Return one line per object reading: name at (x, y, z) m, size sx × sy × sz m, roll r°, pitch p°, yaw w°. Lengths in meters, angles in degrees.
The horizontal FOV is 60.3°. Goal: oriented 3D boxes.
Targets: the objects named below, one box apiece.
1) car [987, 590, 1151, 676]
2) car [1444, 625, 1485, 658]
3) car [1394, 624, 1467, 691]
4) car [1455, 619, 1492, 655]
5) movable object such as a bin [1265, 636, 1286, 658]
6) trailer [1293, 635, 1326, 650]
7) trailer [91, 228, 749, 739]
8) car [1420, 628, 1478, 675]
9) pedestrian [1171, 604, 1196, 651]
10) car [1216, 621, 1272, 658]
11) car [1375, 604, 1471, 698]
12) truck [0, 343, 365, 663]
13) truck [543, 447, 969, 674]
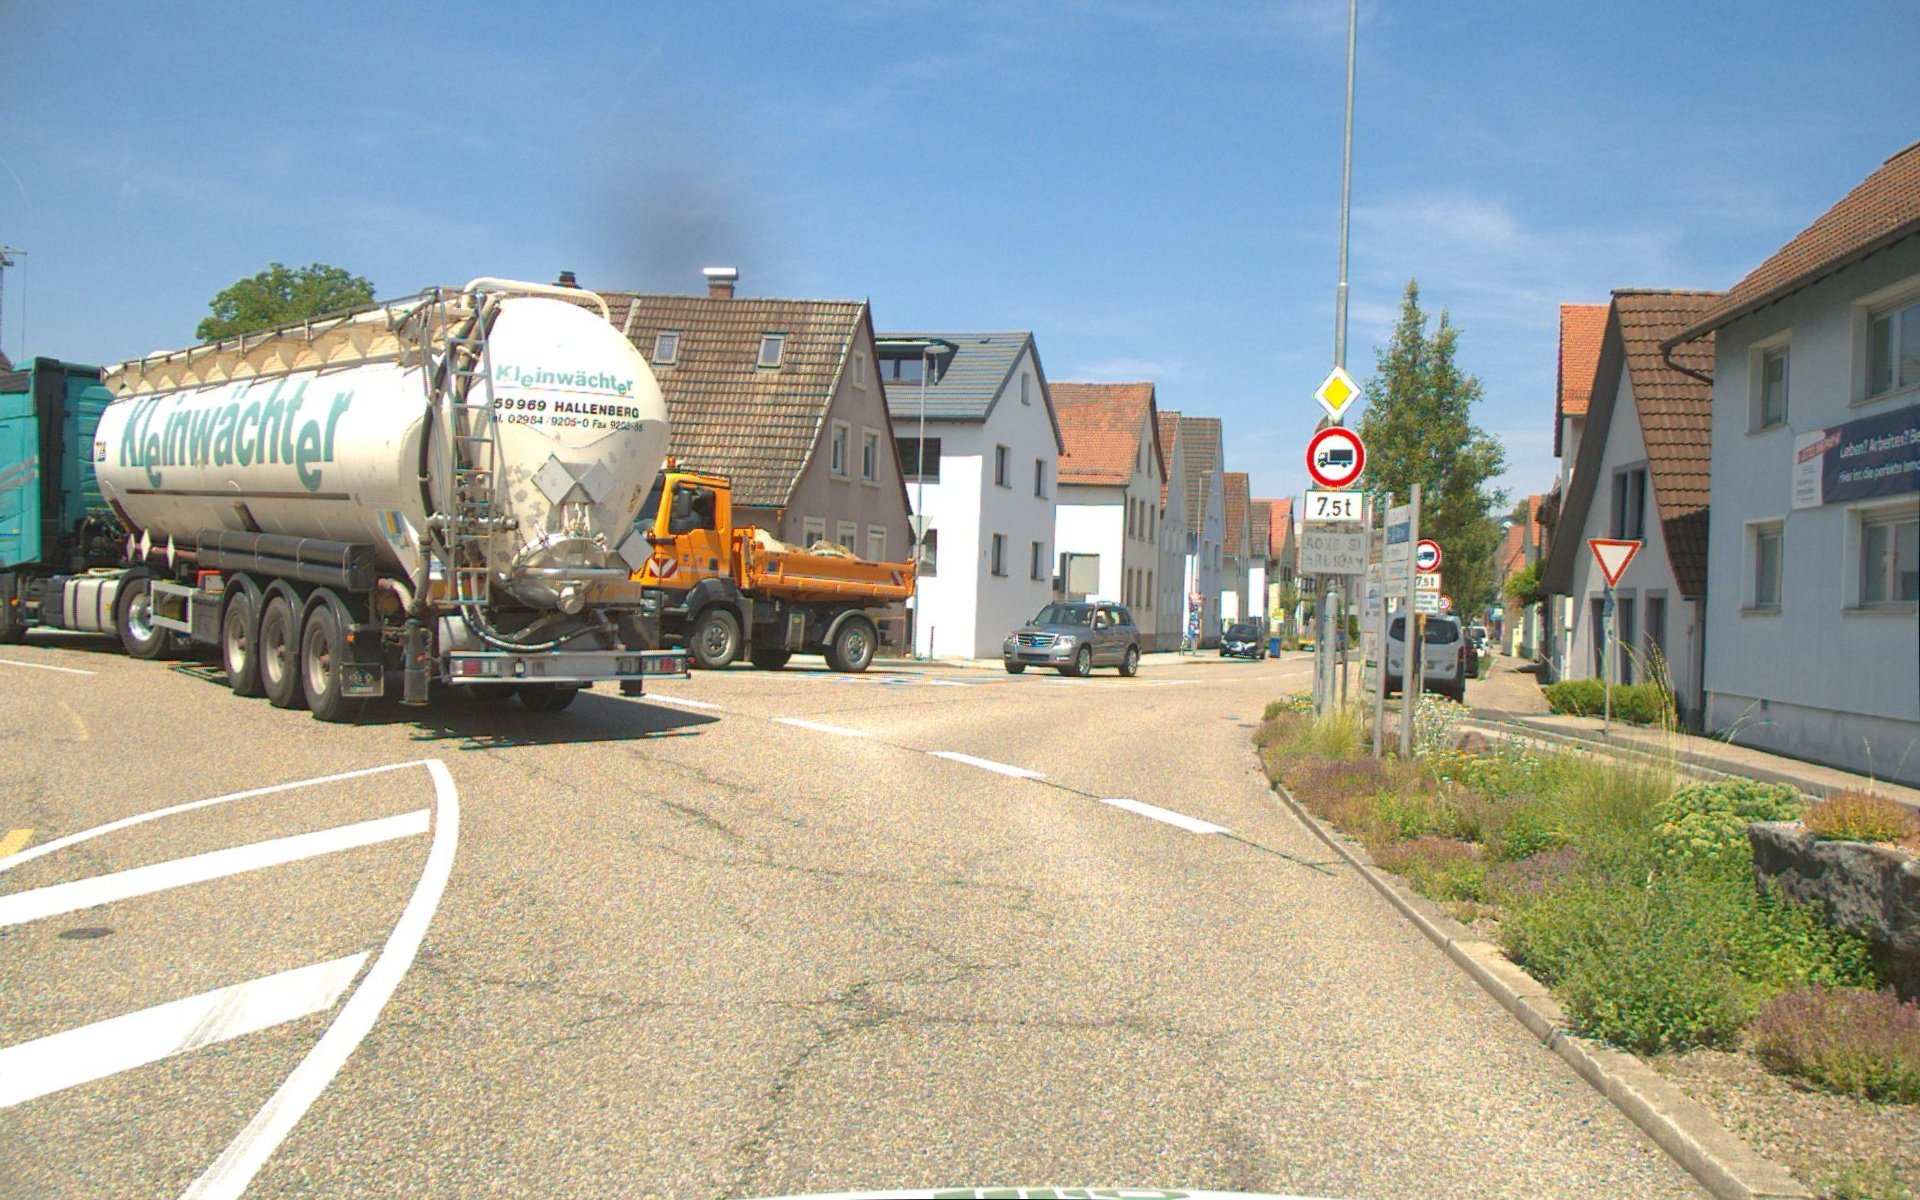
car at (2.501, 0.770, 36.878) m, size 1.956 × 1.704 × 4.305 m, roll 3°, pitch -1°, yaw 29°
car at (27.003, 2.199, 88.644) m, size 1.952 × 1.612 × 4.002 m, roll 3°, pitch 0°, yaw 16°
car at (12.950, 1.540, 45.402) m, size 1.779 × 1.663 × 4.209 m, roll 2°, pitch 0°, yaw 17°
car at (30.891, 2.204, 99.637) m, size 1.952 × 2.026 × 4.002 m, roll 3°, pitch 0°, yaw 16°
movable object such as a bin at (16.136, 2.413, 84.556) m, size 0.901 × 1.067 × 0.944 m, roll 3°, pitch 0°, yaw 19°
trailer at (22.675, 2.750, 107.338) m, size 1.909 × 0.791 × 2.722 m, roll 3°, pitch 0°, yaw 9°
trailer at (-6.702, -1.063, 18.390) m, size 2.933 × 4.016 × 11.457 m, roll 3°, pitch 0°, yaw -39°
car at (18.491, 1.924, 62.614) m, size 1.952 × 1.612 × 4.002 m, roll 3°, pitch 0°, yaw 16°
pedestrian at (9.990, 1.222, 73.854) m, size 0.753 × 2.049 × 0.976 m, roll 3°, pitch 0°, yaw 24°
car at (13.694, 1.889, 79.522) m, size 1.683 × 1.624 × 3.998 m, roll 3°, pitch 0°, yaw 23°
car at (10.676, 1.201, 38.231) m, size 1.951 × 1.945 × 4.326 m, roll 3°, pitch -2°, yaw 15°
truck at (-11.580, -1.312, 23.604) m, size 5.462 × 4.034 × 2.989 m, roll 3°, pitch 0°, yaw 33°
truck at (-3.207, -0.487, 28.254) m, size 2.619 × 3.237 × 7.427 m, roll 2°, pitch -2°, yaw 38°
